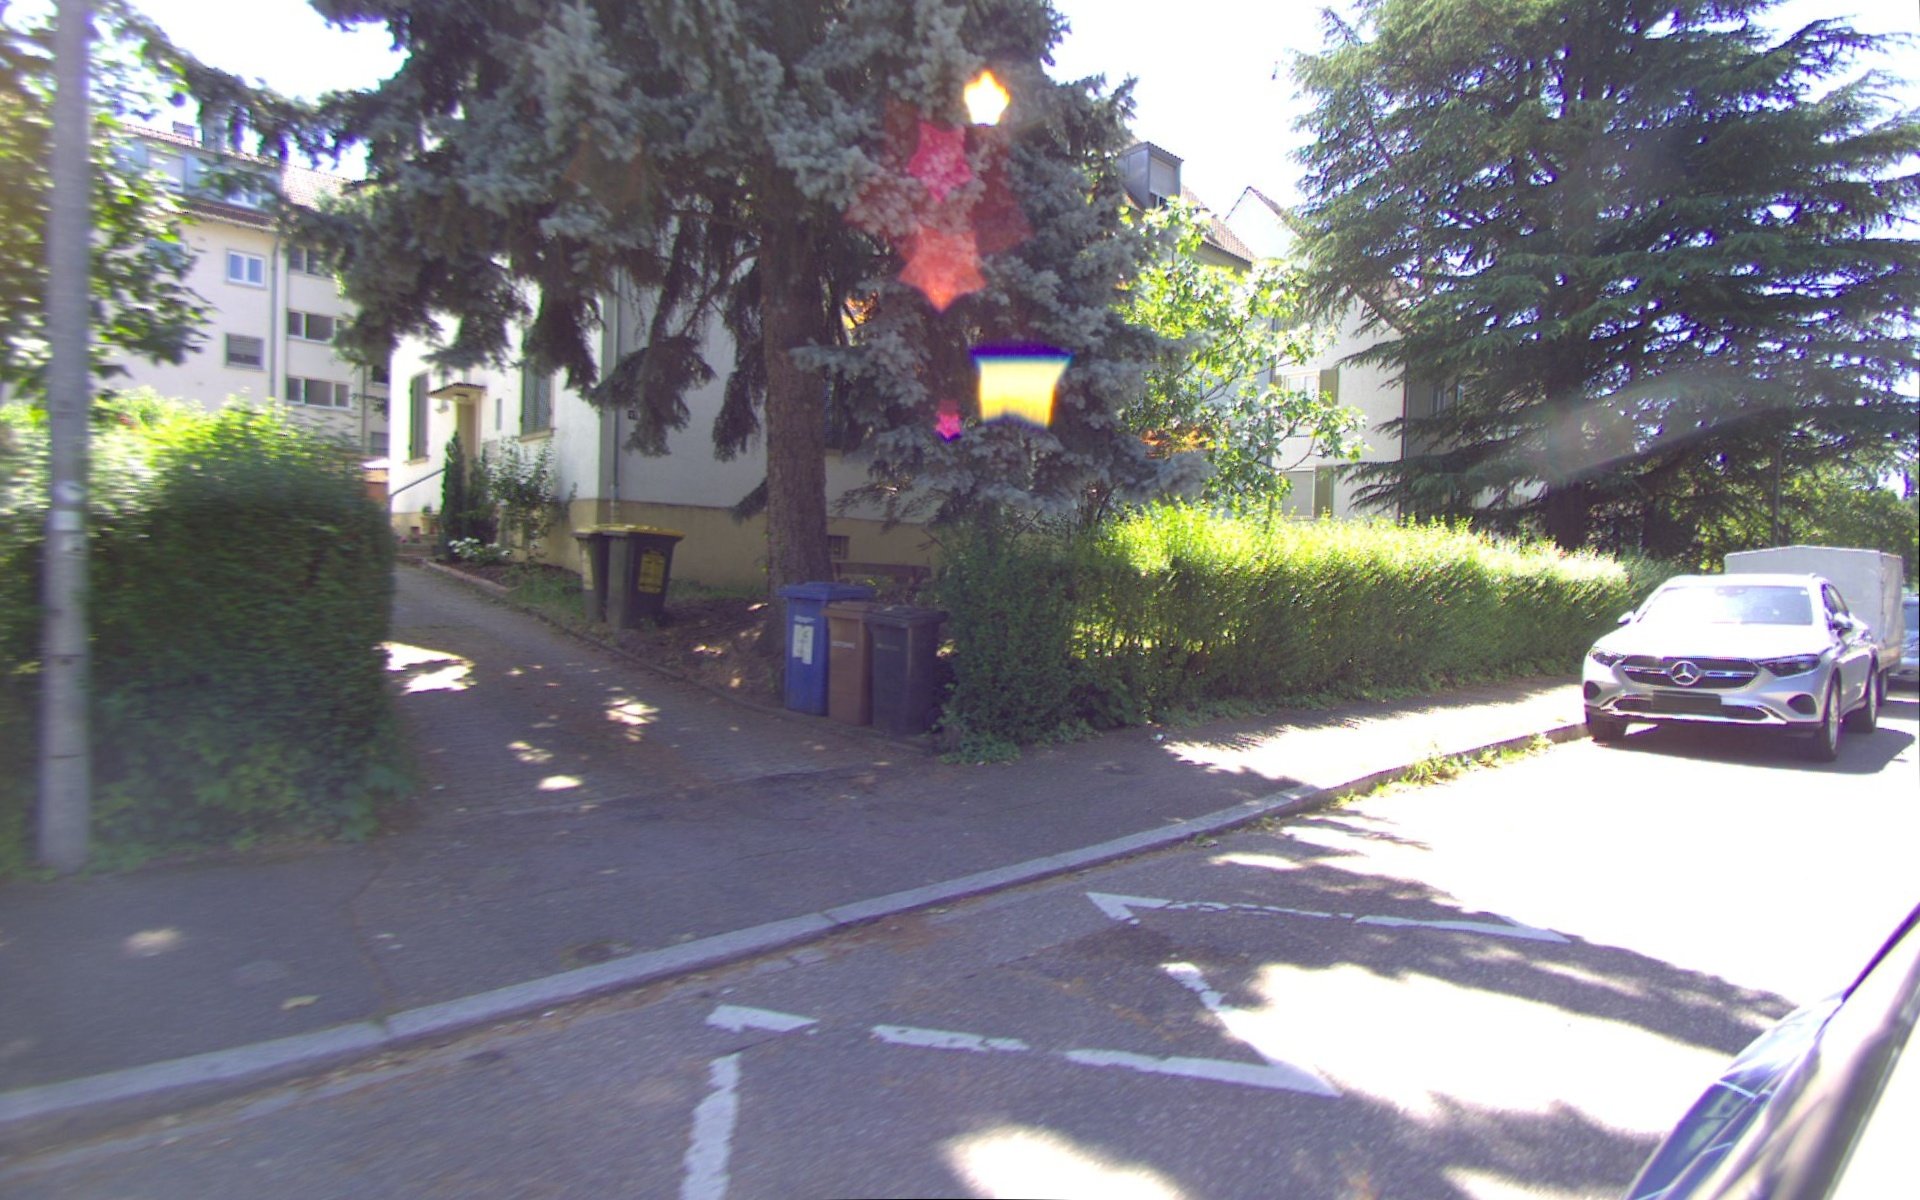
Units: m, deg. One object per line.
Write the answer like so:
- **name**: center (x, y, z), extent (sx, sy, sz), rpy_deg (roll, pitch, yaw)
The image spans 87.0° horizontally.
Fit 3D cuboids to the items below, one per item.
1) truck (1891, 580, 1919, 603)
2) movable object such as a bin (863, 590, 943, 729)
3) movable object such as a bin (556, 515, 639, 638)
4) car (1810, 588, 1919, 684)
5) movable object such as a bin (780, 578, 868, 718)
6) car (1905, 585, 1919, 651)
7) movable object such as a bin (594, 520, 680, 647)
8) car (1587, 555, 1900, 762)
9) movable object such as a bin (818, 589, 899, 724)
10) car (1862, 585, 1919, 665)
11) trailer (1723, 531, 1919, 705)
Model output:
- **truck**: center (101.337, -0.898, 107.930), extent (2.121, 2.367, 6.353), rpy_deg (3, 2, 35)
- **movable object such as a bin**: center (-0.429, 0.426, 7.582), extent (0.441, 1.004, 0.405), rpy_deg (0, 0, -40)
- **movable object such as a bin**: center (-3.966, -0.271, 11.069), extent (0.542, 1.260, 0.624), rpy_deg (7, 6, 32)
- **car**: center (15.640, 0.524, 16.908), extent (4.185, 1.413, 1.617), rpy_deg (-1, 1, -41)
- **movable object such as a bin**: center (-1.107, 0.370, 8.248), extent (0.549, 1.095, 0.449), rpy_deg (0, 0, -40)
- **car**: center (24.101, 0.389, 24.346), extent (4.300, 1.469, 1.617), rpy_deg (-2, 1, -42)
- **movable object such as a bin**: center (-3.407, -0.192, 10.686), extent (0.542, 1.260, 0.624), rpy_deg (7, 6, 32)
- **car**: center (8.111, 0.465, 10.304), extent (4.525, 1.652, 1.774), rpy_deg (0, 0, -42)
- **movable object such as a bin**: center (-0.794, 0.422, 7.884), extent (0.464, 1.004, 0.425), rpy_deg (0, 0, -40)
- **car**: center (19.486, 0.478, 20.270), extent (3.993, 1.488, 1.617), rpy_deg (0, 1, -41)
- **trailer**: center (12.041, 0.214, 14.050), extent (3.645, 2.094, 1.682), rpy_deg (0, 0, -42)
